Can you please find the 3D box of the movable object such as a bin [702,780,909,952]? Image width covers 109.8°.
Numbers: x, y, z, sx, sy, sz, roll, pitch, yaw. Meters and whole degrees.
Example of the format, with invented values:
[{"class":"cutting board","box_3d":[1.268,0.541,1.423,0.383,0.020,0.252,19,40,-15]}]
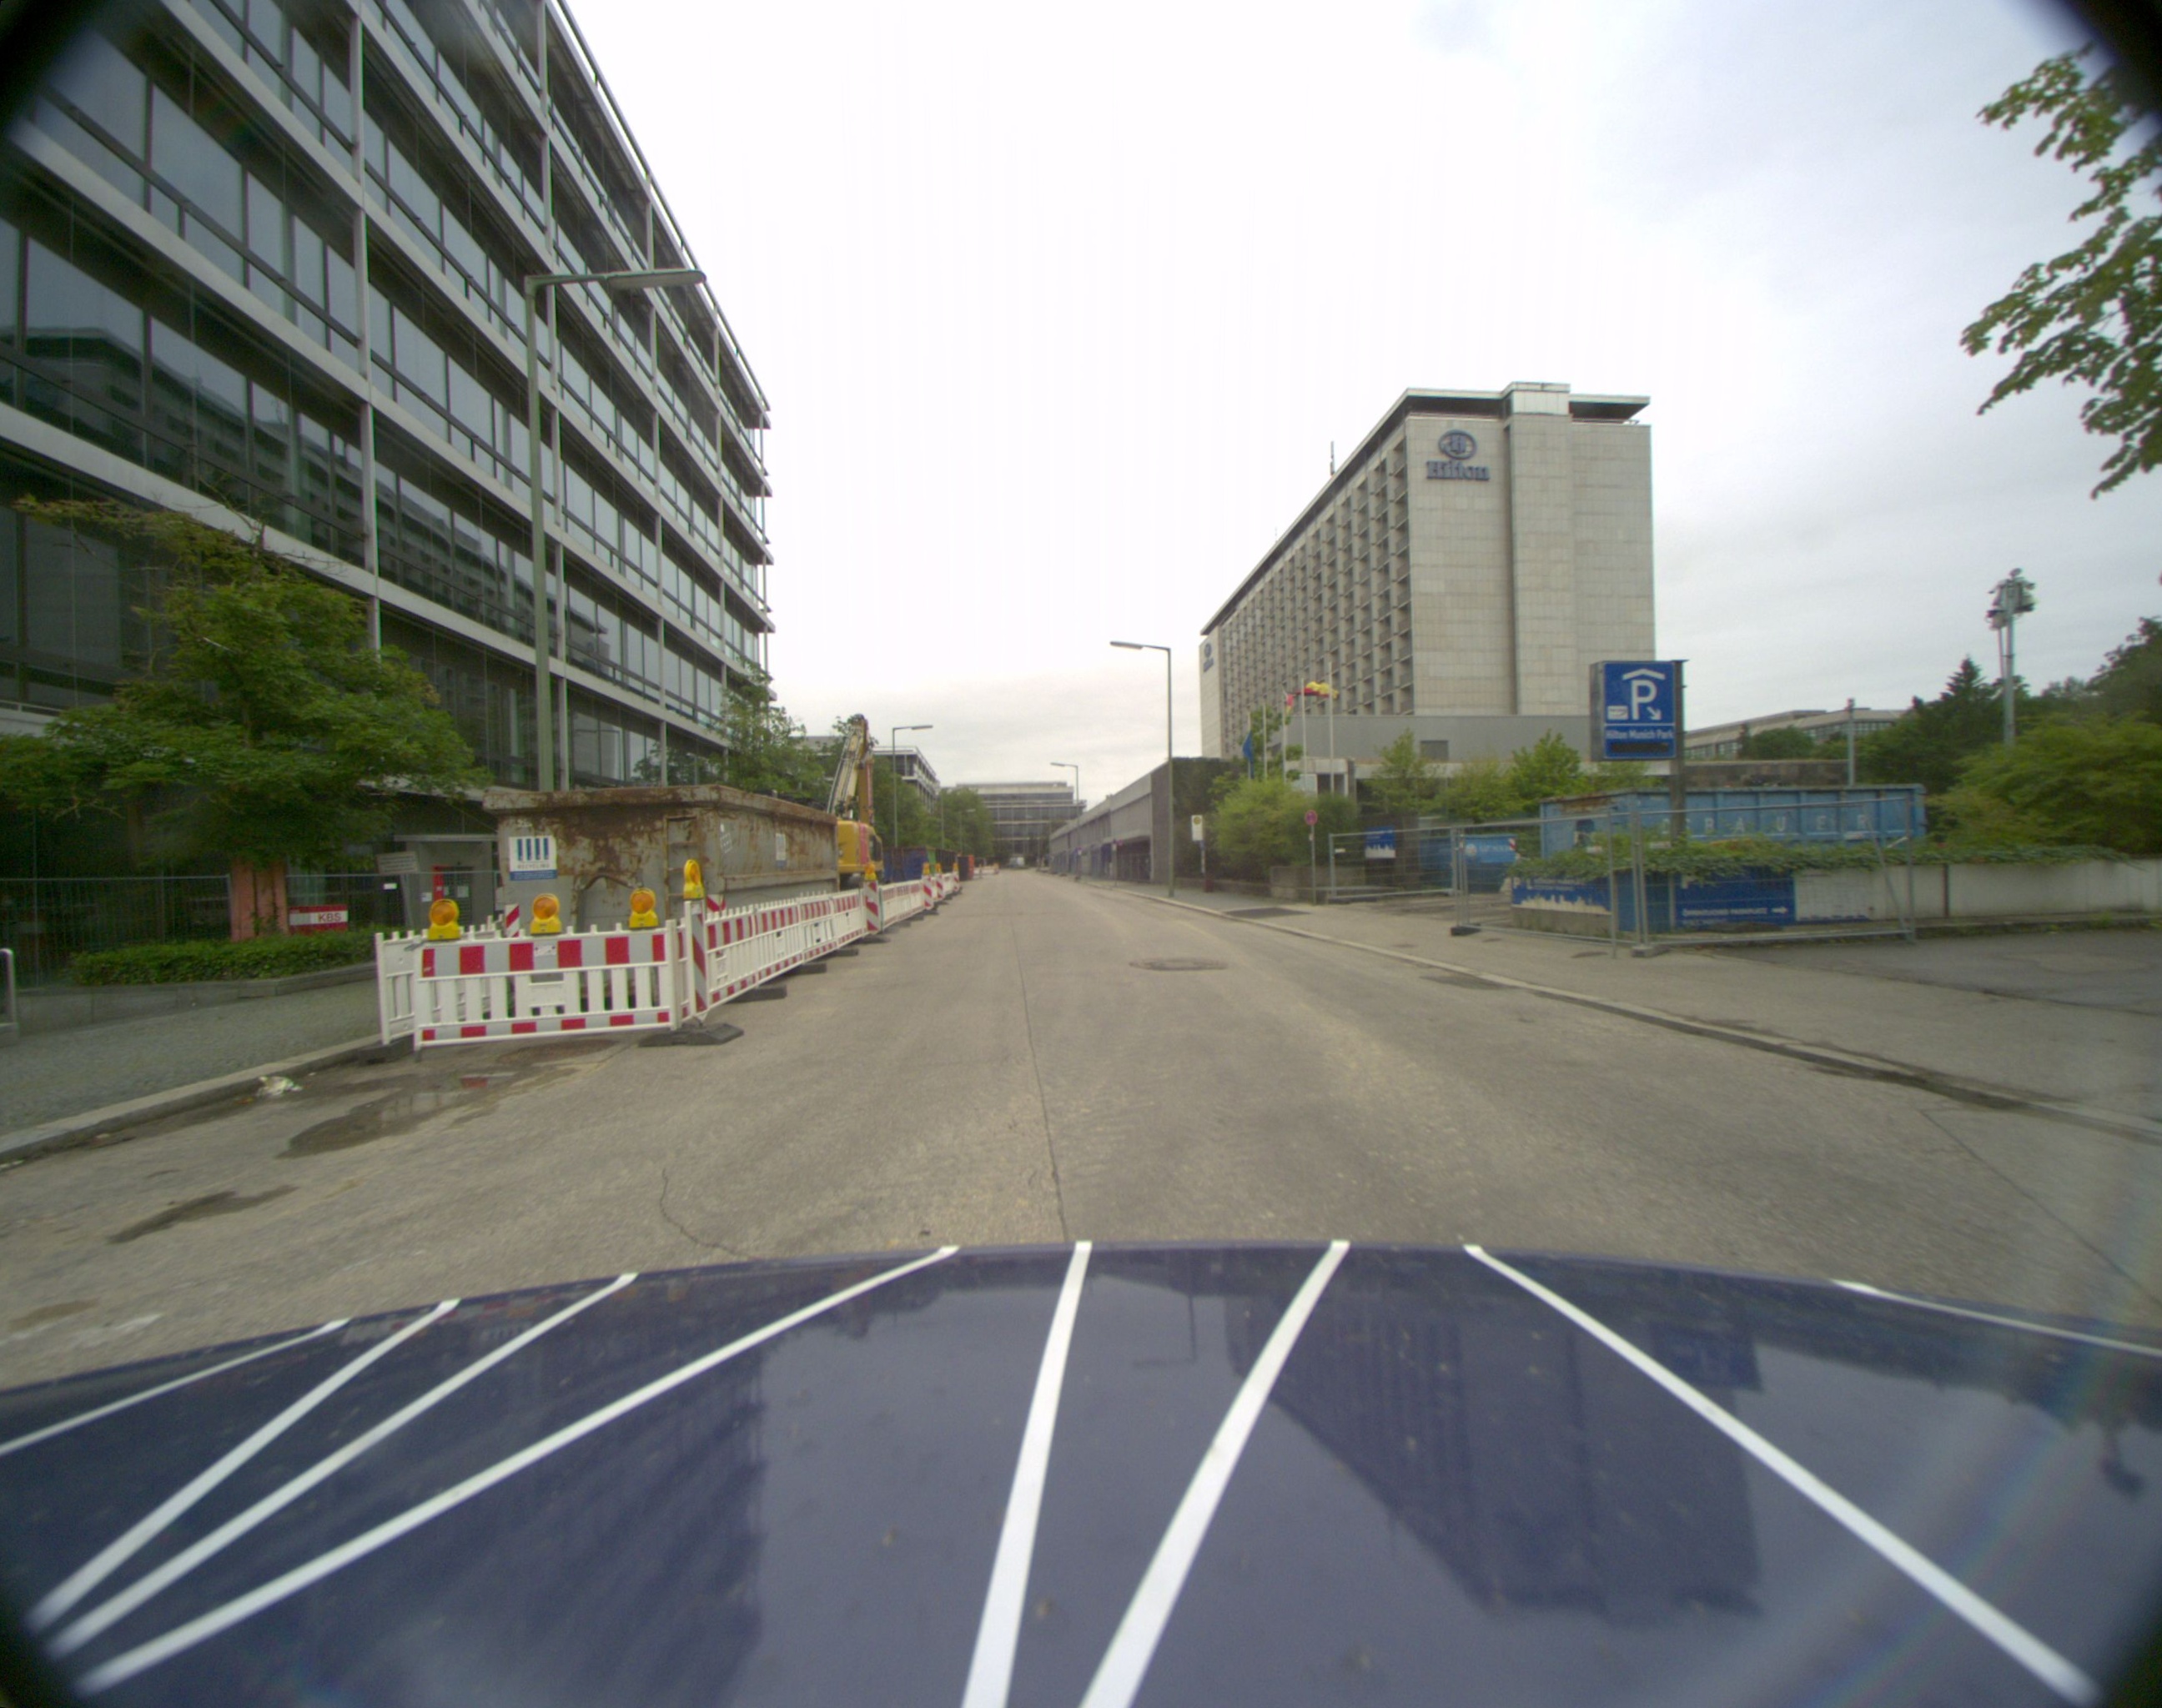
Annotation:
[{"class":"movable object such as a bin","box_3d":[-7.023,0.248,21.125,3.251,3.695,9.002,-1,0,-6]}]
